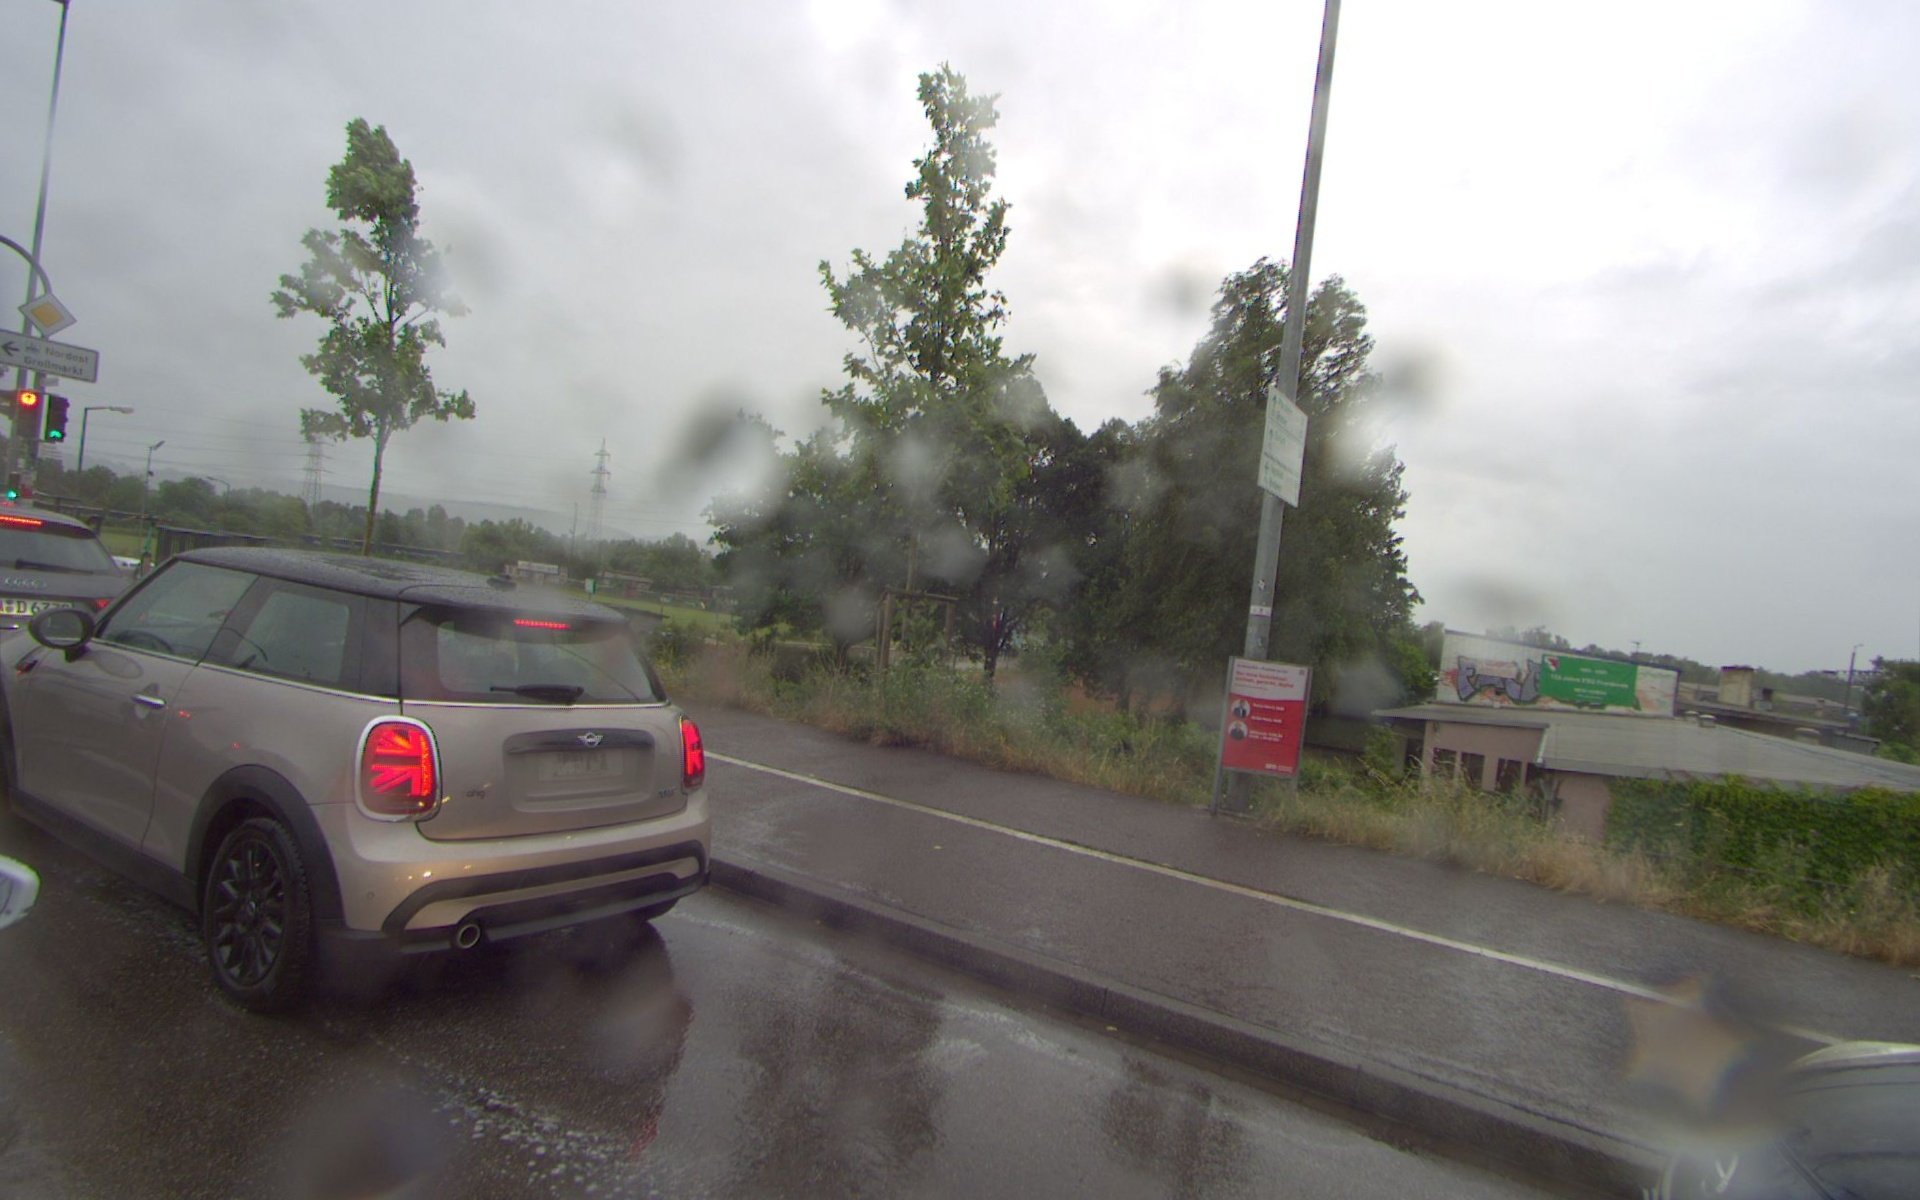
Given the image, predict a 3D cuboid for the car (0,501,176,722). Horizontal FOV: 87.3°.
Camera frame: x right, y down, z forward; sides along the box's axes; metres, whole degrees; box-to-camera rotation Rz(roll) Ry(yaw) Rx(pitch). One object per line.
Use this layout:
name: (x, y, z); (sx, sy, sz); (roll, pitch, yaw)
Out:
car: (-7.502, -0.059, 7.253); (3.569, 1.383, 1.600); (5, -1, 30)

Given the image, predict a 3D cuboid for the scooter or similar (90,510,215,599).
scooter or similar: (-13.880, -0.797, 17.250); (2.971, 1.226, 0.691); (7, 0, 33)

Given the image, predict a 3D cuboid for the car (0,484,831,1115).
car: (-2.661, 0.484, 4.270); (3.815, 1.524, 1.707); (6, -4, 32)

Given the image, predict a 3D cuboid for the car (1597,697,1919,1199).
car: (2.823, 1.141, 1.000); (3.557, 1.526, 1.556); (7, -1, 32)
